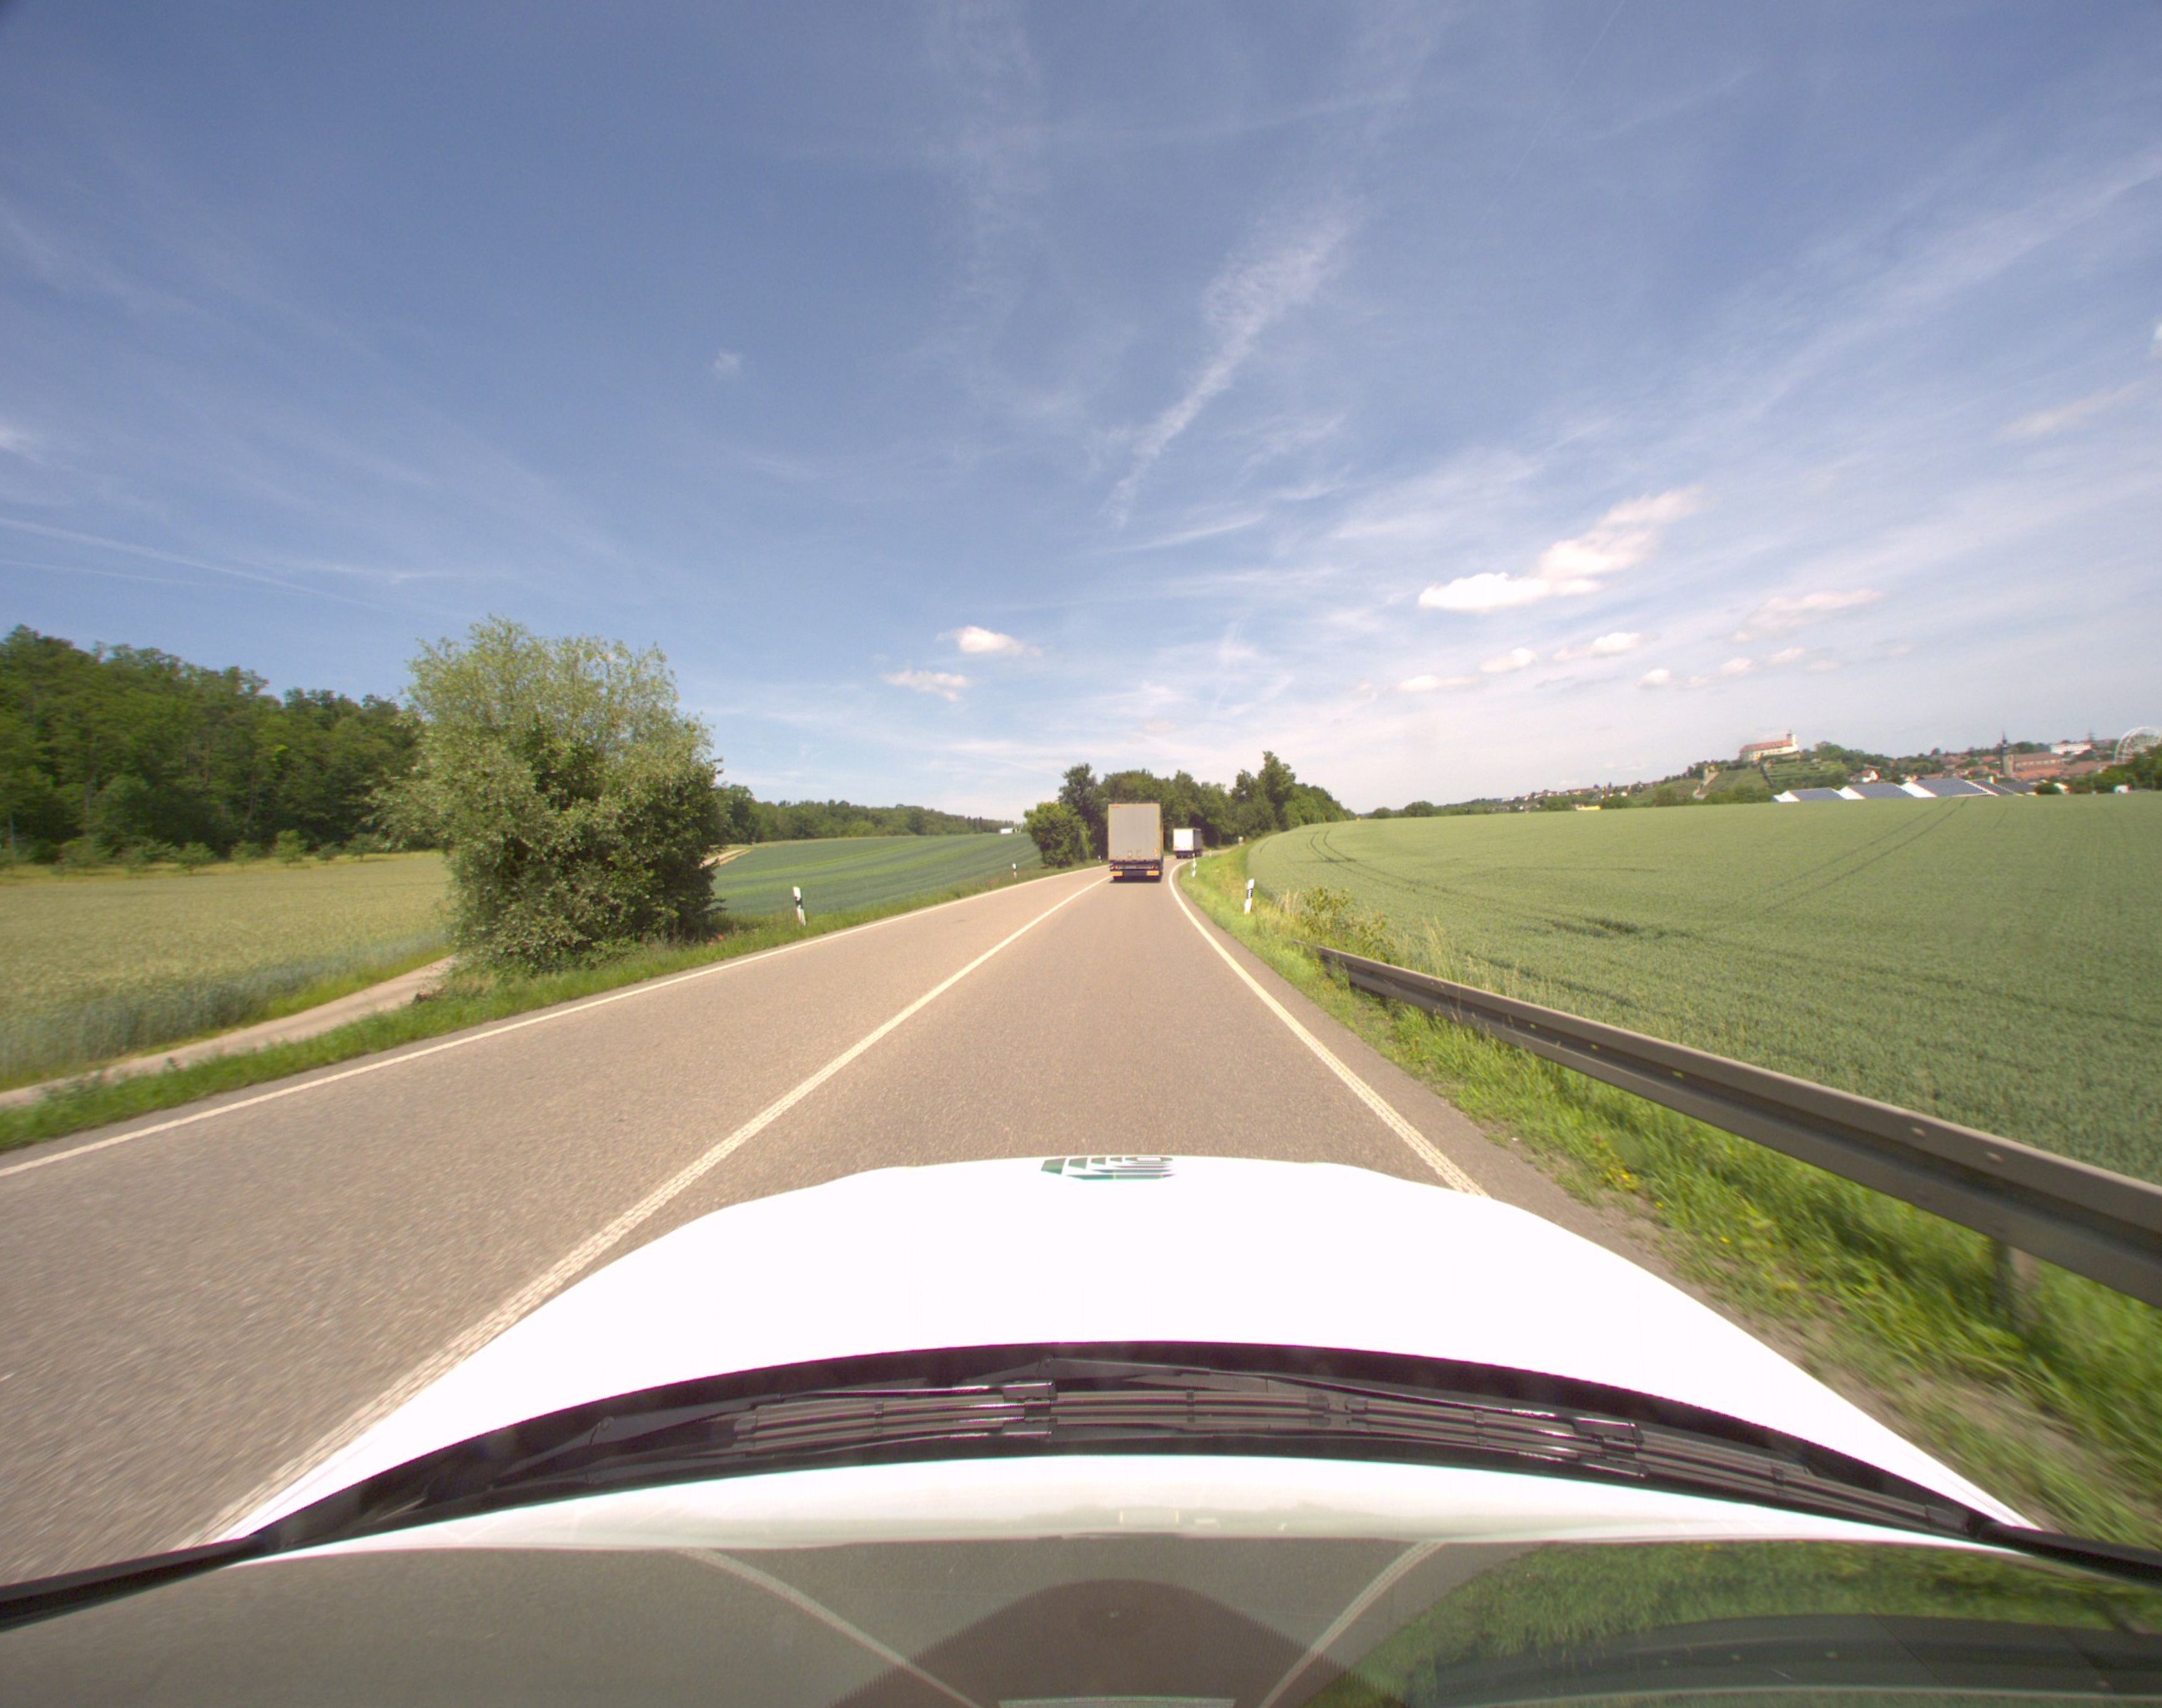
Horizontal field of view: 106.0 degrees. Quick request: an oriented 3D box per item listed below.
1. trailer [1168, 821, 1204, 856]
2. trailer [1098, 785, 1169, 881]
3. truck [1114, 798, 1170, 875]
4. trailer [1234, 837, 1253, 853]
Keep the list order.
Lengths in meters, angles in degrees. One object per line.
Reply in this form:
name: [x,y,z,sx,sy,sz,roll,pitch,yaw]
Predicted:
trailer: [14.632,-2.223,112.139,3.342,4.315,13.917,-2,2,13]
trailer: [3.271,-1.037,45.993,3.102,4.499,13.913,-2,0,7]
truck: [3.997,-1.059,51.742,3.102,4.494,6.824,-2,0,7]
trailer: [39.130,-2.207,196.124,2.799,3.309,11.571,-3,-2,19]
